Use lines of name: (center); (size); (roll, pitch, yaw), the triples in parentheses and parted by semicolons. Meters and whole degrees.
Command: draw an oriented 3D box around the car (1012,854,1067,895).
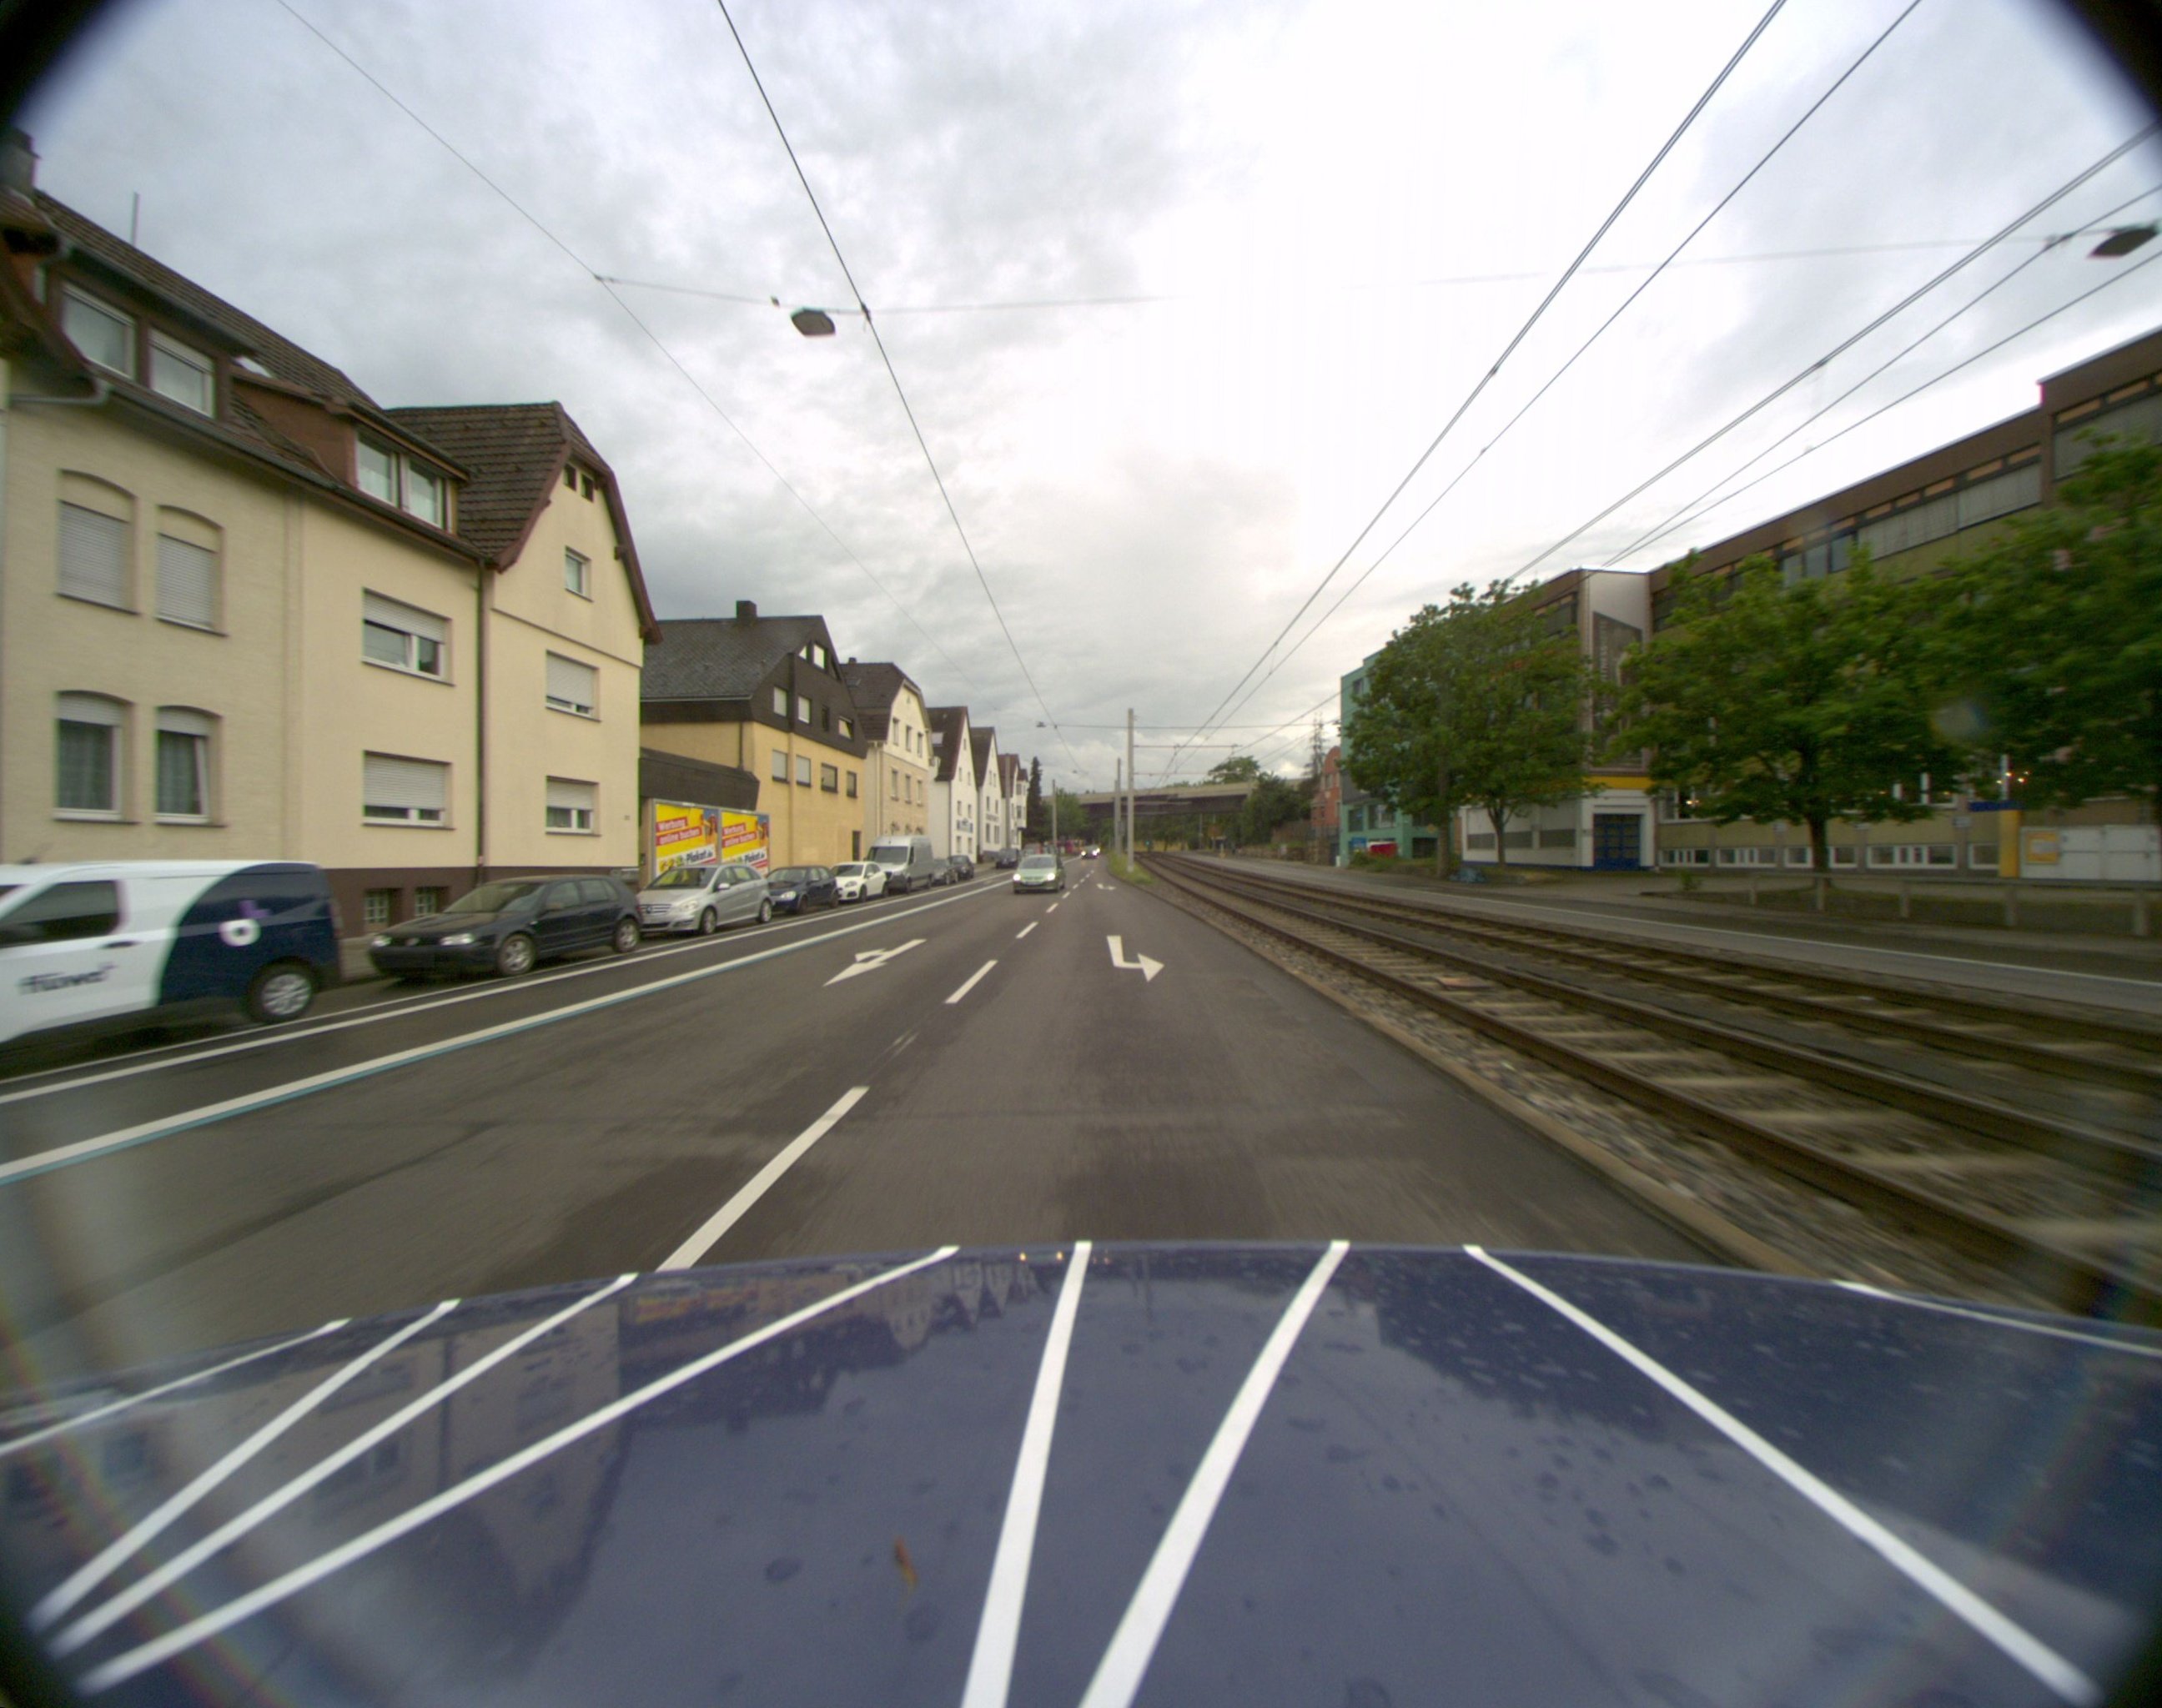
car: (-1.600, 0.760, 30.829); (1.888, 1.440, 4.200); (-2, 1, 1)

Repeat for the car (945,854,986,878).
car: (-7.005, 0.698, 46.525); (1.726, 1.338, 4.200); (-2, 1, 1)

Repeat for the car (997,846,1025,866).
car: (-5.980, 0.150, 65.211); (1.726, 1.539, 4.201); (-2, 1, 4)

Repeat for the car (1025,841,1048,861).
car: (-4.730, -0.337, 81.515); (1.977, 1.984, 4.435); (-2, 1, 3)

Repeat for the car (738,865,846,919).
car: (-8.638, 1.092, 23.056); (1.605, 1.393, 3.792); (-2, 0, 3)

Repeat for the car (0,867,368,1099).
car: (-9.324, 1.052, 6.644); (1.852, 1.746, 4.522); (-2, 0, 0)

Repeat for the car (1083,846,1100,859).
car: (1.170, -0.224, 87.122); (1.888, 1.416, 4.200); (-2, 1, 1)

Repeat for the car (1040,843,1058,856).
car: (-3.887, -0.594, 93.070); (1.726, 1.539, 4.201); (-2, 1, 4)

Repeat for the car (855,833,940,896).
car: (-7.943, 0.399, 33.561); (2.044, 2.484, 5.921); (-2, 1, 2)

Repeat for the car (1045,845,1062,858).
car: (-3.502, -0.304, 97.493); (1.726, 1.539, 4.201); (-2, 1, 4)

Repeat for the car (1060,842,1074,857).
car: (-2.117, -0.690, 113.628); (1.726, 2.079, 4.201); (-2, 1, 4)

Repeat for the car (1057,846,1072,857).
car: (-2.417, -0.399, 109.071); (1.726, 1.539, 4.201); (-2, 1, 4)

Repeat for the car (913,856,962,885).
car: (-7.550, 0.854, 40.342); (1.726, 1.338, 4.084); (-2, 1, 1)

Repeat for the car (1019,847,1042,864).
car: (-5.035, 0.131, 75.839); (1.726, 1.539, 4.201); (-2, 1, 4)

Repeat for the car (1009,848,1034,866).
car: (-5.478, 0.294, 70.425); (1.726, 1.539, 4.201); (-2, 1, 4)

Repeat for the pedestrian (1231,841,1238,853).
pedestrian: (20.346, -0.900, 100.448); (0.747, 1.635, 1.021); (0, 1, 2)

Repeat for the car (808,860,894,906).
car: (-8.299, 1.003, 27.804); (1.605, 1.456, 4.201); (-2, 0, 3)

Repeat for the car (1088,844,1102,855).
car: (1.969, -0.631, 107.946); (1.888, 1.416, 4.200); (-2, 1, 1)

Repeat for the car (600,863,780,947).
car: (-8.784, 1.067, 17.565); (1.705, 1.557, 4.282); (-2, 1, 3)

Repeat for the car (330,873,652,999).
car: (-8.917, 1.135, 12.039); (1.690, 1.503, 4.138); (-2, 0, 3)

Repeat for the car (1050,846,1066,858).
car: (-3.060, -0.275, 103.311); (1.726, 1.539, 4.201); (-2, 1, 4)
